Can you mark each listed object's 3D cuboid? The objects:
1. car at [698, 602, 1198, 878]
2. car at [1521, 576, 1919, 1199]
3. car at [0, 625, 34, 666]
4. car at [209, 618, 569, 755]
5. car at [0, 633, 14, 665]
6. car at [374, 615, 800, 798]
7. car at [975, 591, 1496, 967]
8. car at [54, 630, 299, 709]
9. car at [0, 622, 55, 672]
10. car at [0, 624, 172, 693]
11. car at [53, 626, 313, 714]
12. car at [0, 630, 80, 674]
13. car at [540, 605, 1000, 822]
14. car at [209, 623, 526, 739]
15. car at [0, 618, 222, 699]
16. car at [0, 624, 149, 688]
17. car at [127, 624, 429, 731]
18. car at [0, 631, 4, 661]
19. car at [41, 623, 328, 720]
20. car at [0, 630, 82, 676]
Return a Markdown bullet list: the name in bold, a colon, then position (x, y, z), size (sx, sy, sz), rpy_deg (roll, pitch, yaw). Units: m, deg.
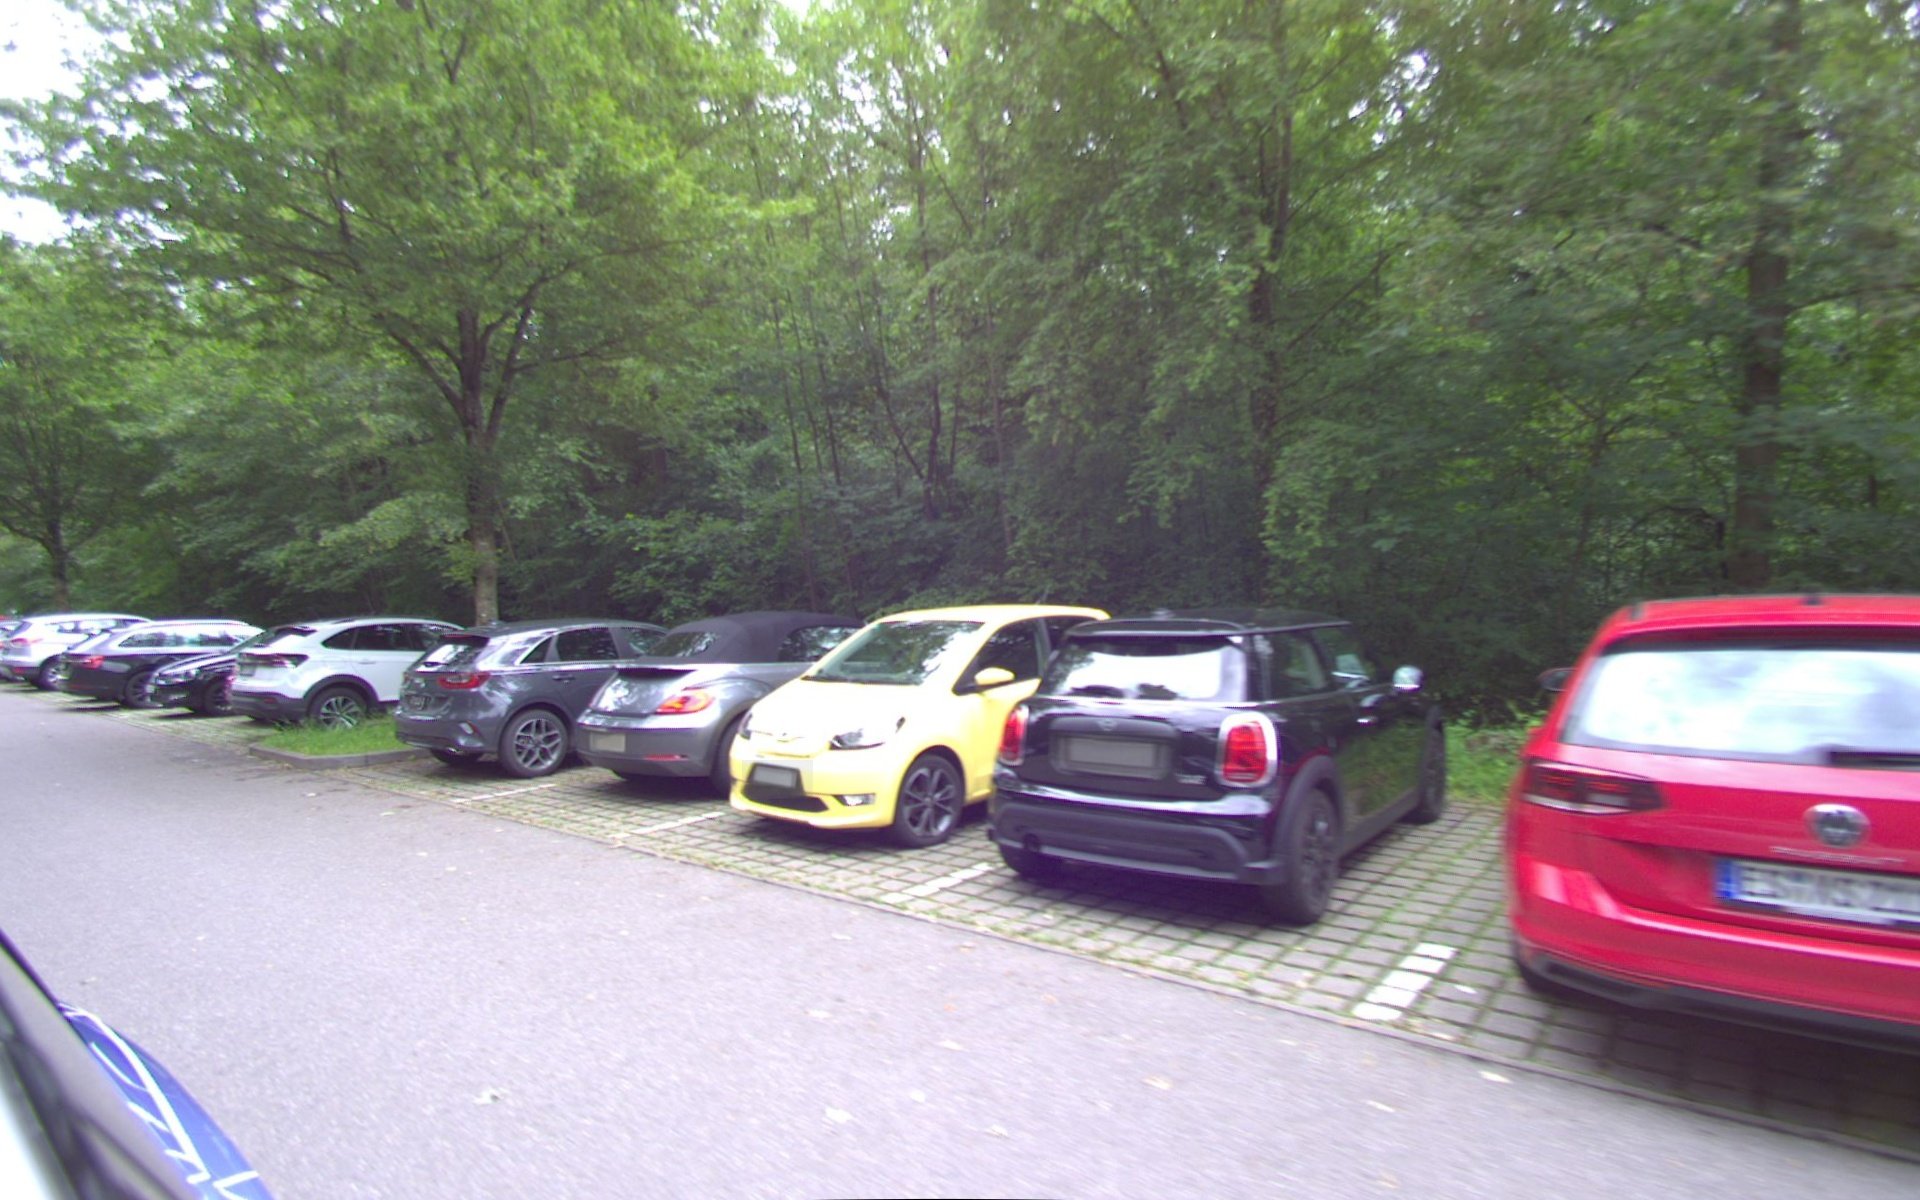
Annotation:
- **car**: position (0.154, 0.812, 7.724), size (1.616, 1.449, 3.947), rpy_deg (-2, 0, 40)
- **car**: position (3.560, 0.671, 3.970), size (1.777, 1.487, 3.949), rpy_deg (-2, 0, 38)
- **car**: position (-40.436, 1.924, 41.165), size (1.741, 1.609, 3.945), rpy_deg (-2, 0, 42)
- **car**: position (-7.674, 1.065, 13.902), size (1.713, 1.478, 3.948), rpy_deg (-2, 0, 39)
- **car**: position (-44.441, 2.213, 44.575), size (1.741, 1.432, 3.944), rpy_deg (-2, -1, 42)
- **car**: position (-3.798, 0.973, 10.859), size (1.713, 1.449, 3.947), rpy_deg (-2, 0, 40)
- **car**: position (1.946, 0.728, 6.150), size (1.669, 1.449, 3.950), rpy_deg (-2, 0, 37)
- **car**: position (-17.171, 1.457, 22.336), size (1.812, 1.432, 3.949), rpy_deg (-2, 0, 38)
- **car**: position (-36.721, 1.774, 37.962), size (1.816, 1.828, 3.947), rpy_deg (-2, -1, 39)
- **car**: position (-23.486, 1.494, 26.728), size (1.813, 1.675, 3.946), rpy_deg (-2, -2, 40)
- **car**: position (-15.650, 1.334, 20.539), size (1.648, 1.446, 3.945), rpy_deg (0, 1, 41)
- **car**: position (-34.928, 1.901, 37.017), size (1.816, 1.527, 3.947), rpy_deg (-2, -1, 40)
- **car**: position (-1.534, 0.840, 9.324), size (1.732, 1.449, 3.947), rpy_deg (-2, 0, 40)
- **car**: position (-9.131, 1.162, 15.833), size (1.701, 1.446, 3.945), rpy_deg (-2, 0, 41)
- **car**: position (-19.833, 1.280, 23.560), size (1.812, 1.675, 3.948), rpy_deg (-2, -1, 38)
- **car**: position (-25.378, 1.522, 28.310), size (1.694, 1.675, 3.949), rpy_deg (-2, -2, 38)
- **car**: position (-11.413, 1.215, 17.137), size (1.677, 1.446, 3.945), rpy_deg (-2, 0, 41)
- **car**: position (-49.782, 2.317, 49.633), size (1.818, 1.467, 4.164), rpy_deg (-2, -1, 43)
- **car**: position (-14.156, 1.227, 18.641), size (1.677, 1.446, 3.945), rpy_deg (-2, 0, 41)
- **car**: position (-32.940, 1.828, 34.778), size (1.769, 1.527, 3.947), rpy_deg (-2, -1, 40)
